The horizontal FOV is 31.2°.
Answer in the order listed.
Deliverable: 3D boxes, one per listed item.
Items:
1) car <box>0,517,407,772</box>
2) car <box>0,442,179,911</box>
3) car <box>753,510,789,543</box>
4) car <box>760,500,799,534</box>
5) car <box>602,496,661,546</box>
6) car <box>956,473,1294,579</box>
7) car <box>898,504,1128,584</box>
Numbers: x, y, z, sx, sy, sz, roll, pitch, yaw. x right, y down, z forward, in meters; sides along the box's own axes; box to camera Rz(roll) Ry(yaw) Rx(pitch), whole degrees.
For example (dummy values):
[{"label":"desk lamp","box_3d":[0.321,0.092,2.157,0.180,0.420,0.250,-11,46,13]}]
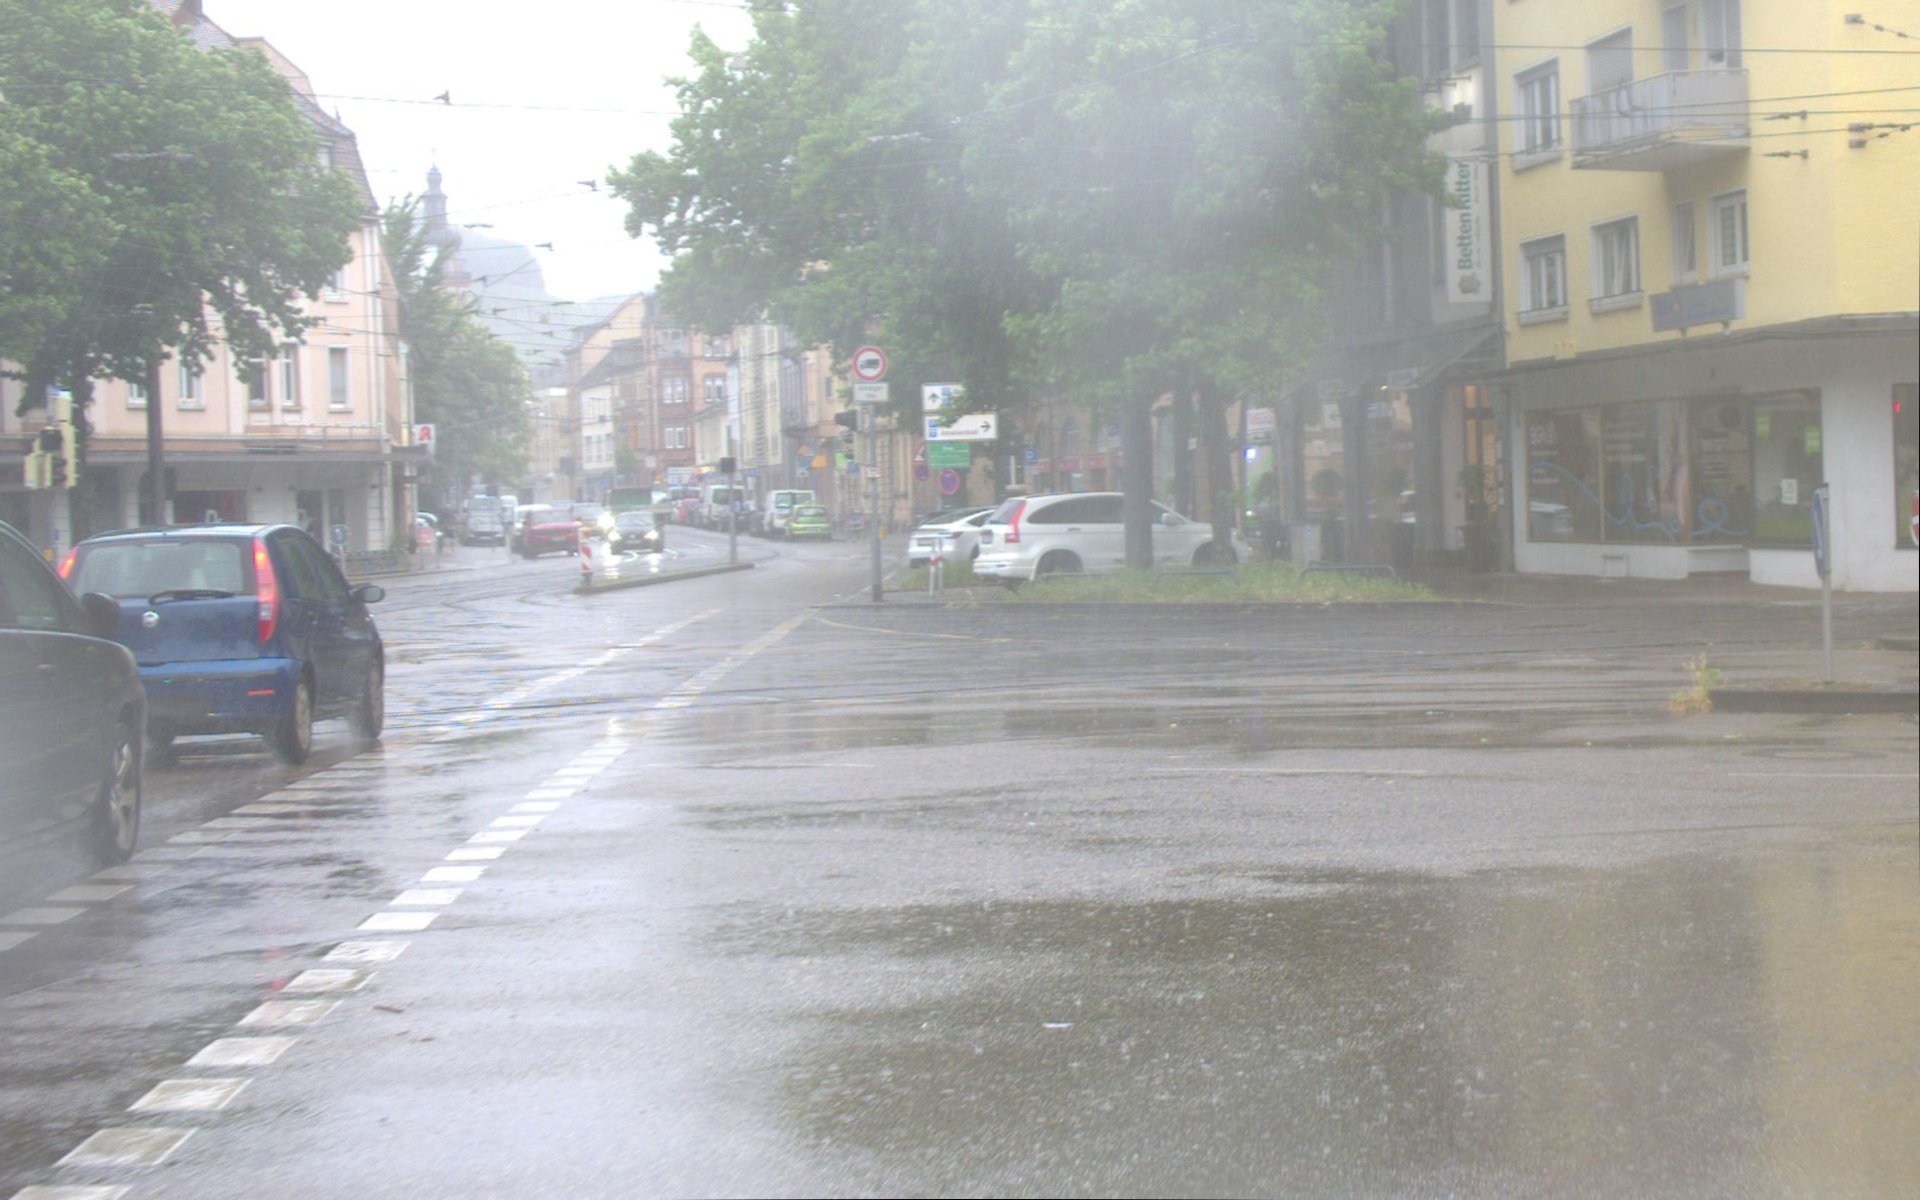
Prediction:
[{"label":"car","box_3d":[-4.694,0.291,21.810,1.882,1.454,3.832,-1,-1,-2]},{"label":"car","box_3d":[-4.393,0.260,13.169,1.801,1.703,4.191,0,2,1]},{"label":"car","box_3d":[-8.132,-3.150,147.849,1.475,1.358,3.462,0,0,-5]},{"label":"car","box_3d":[-7.422,-3.402,141.197,1.475,1.358,3.462,0,0,-5]},{"label":"car","box_3d":[-11.584,-2.774,121.167,1.993,1.683,4.001,0,0,-6]},{"label":"car","box_3d":[2.615,-1.195,54.744,4.972,1.469,2.001,-3,2,-13]},{"label":"car","box_3d":[1.161,-1.216,74.713,4.583,1.551,1.999,-1,2,18]}]
